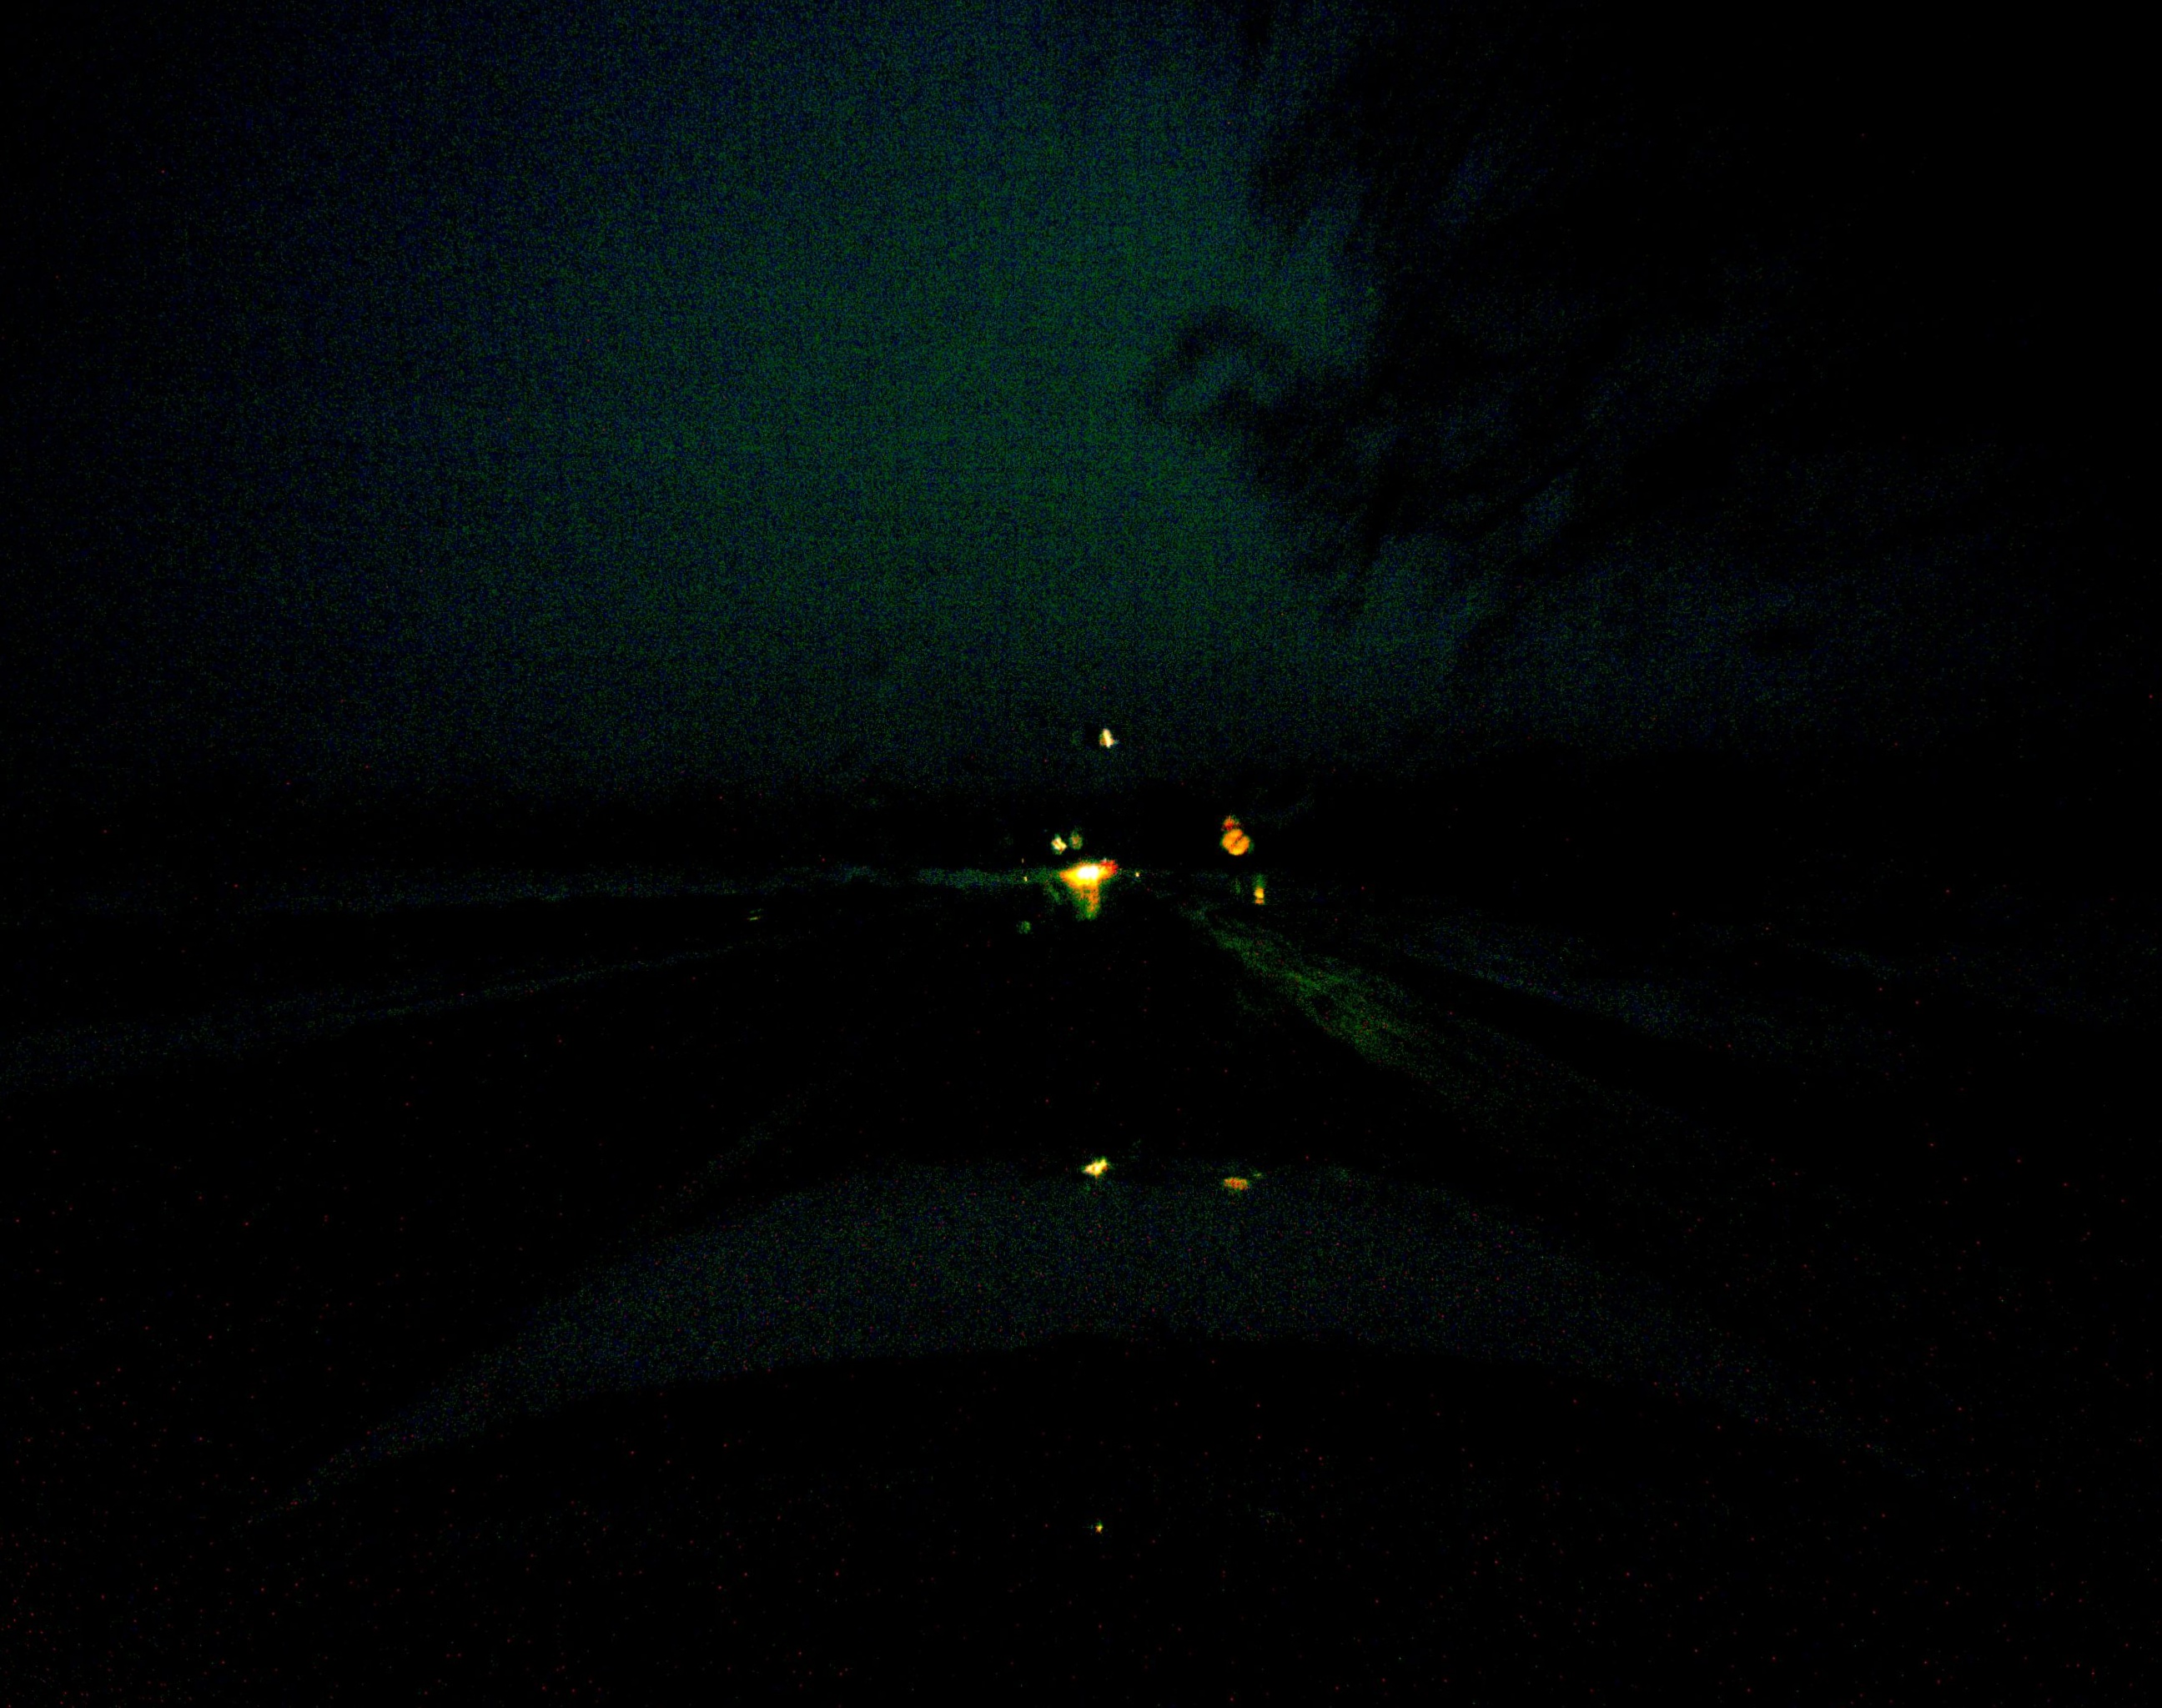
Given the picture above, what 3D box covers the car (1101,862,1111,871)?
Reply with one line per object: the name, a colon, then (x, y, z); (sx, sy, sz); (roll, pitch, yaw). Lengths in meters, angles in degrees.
car: (4.764, 2.423, 155.377); (1.684, 1.552, 3.862); (-1, 1, 5)
